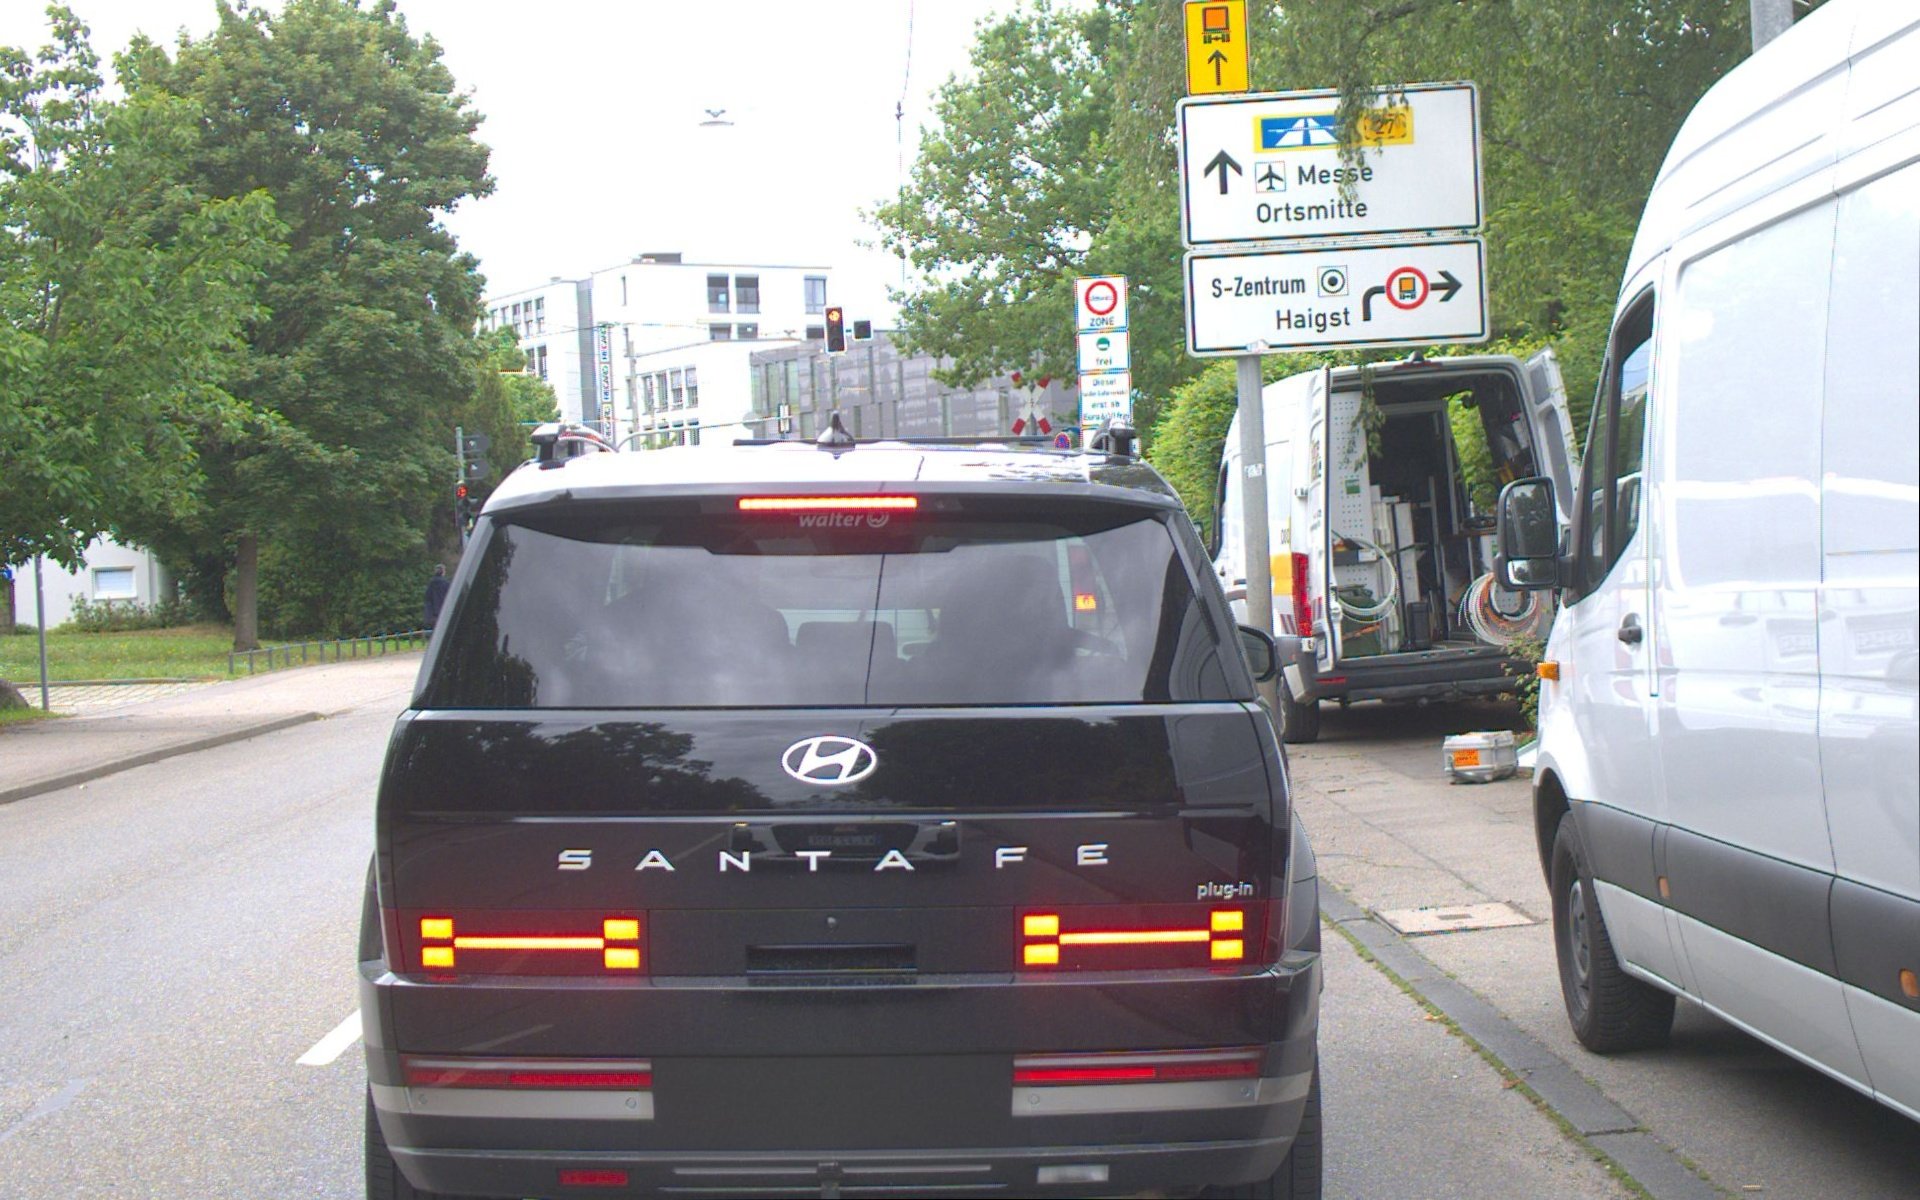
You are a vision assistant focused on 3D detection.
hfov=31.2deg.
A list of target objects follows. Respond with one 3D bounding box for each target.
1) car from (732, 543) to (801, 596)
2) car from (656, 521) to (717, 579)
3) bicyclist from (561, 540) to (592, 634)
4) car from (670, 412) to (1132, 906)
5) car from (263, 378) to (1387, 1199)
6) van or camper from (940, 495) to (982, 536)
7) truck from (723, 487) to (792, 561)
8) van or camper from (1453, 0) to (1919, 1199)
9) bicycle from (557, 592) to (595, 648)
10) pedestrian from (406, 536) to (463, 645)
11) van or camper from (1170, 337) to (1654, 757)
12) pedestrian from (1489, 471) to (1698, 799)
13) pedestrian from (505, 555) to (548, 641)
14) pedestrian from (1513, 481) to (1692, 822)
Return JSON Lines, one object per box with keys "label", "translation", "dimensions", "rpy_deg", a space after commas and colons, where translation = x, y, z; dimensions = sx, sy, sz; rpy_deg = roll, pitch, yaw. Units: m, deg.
{"label": "car", "translation": [-5.715, -0.912, 101.843], "dimensions": [1.756, 1.398, 4.414], "rpy_deg": [-4, 1, -1]}
{"label": "car", "translation": [-11.484, -2.085, 144.048], "dimensions": [2.332, 2.307, 4.959], "rpy_deg": [-2, 1, -6]}
{"label": "bicyclist", "translation": [-6.902, -0.239, 61.918], "dimensions": [0.487, 1.678, 0.588], "rpy_deg": [1, 0, -1]}
{"label": "car", "translation": [-0.270, 0.228, 16.334], "dimensions": [1.897, 2.035, 3.994], "rpy_deg": [1, 1, -1]}
{"label": "car", "translation": [-0.255, 0.501, 7.865], "dimensions": [1.897, 1.770, 3.994], "rpy_deg": [1, 1, -1]}
{"label": "van or camper", "translation": [0.042, -4.224, 172.474], "dimensions": [1.795, 1.992, 3.824], "rpy_deg": [1, 1, -4]}
{"label": "truck", "translation": [-11.072, -4.097, 187.154], "dimensions": [3.107, 3.846, 9.623], "rpy_deg": [-2, 1, -6]}
{"label": "van or camper", "translation": [2.606, -0.021, 6.990], "dimensions": [1.991, 2.616, 6.544], "rpy_deg": [-5, 1, -1]}
{"label": "bicycle", "translation": [-6.908, 0.351, 61.864], "dimensions": [0.495, 0.961, 1.748], "rpy_deg": [1, 1, -1]}
{"label": "pedestrian", "translation": [-9.771, -0.177, 63.949], "dimensions": [0.830, 2.007, 1.047], "rpy_deg": [1, 0, 2]}
{"label": "van or camper", "translation": [3.089, -0.335, 25.264], "dimensions": [2.340, 2.486, 6.603], "rpy_deg": [-5, 0, -1]}
{"label": "pedestrian", "translation": [3.412, 0.181, 18.540], "dimensions": [0.750, 1.715, 0.792], "rpy_deg": [1, 0, -29]}
{"label": "pedestrian", "translation": [-8.834, -0.042, 70.130], "dimensions": [0.767, 1.742, 0.904], "rpy_deg": [-1, 0, -1]}
{"label": "pedestrian", "translation": [3.215, 0.252, 17.270], "dimensions": [0.736, 1.638, 0.801], "rpy_deg": [-3, 0, 6]}
